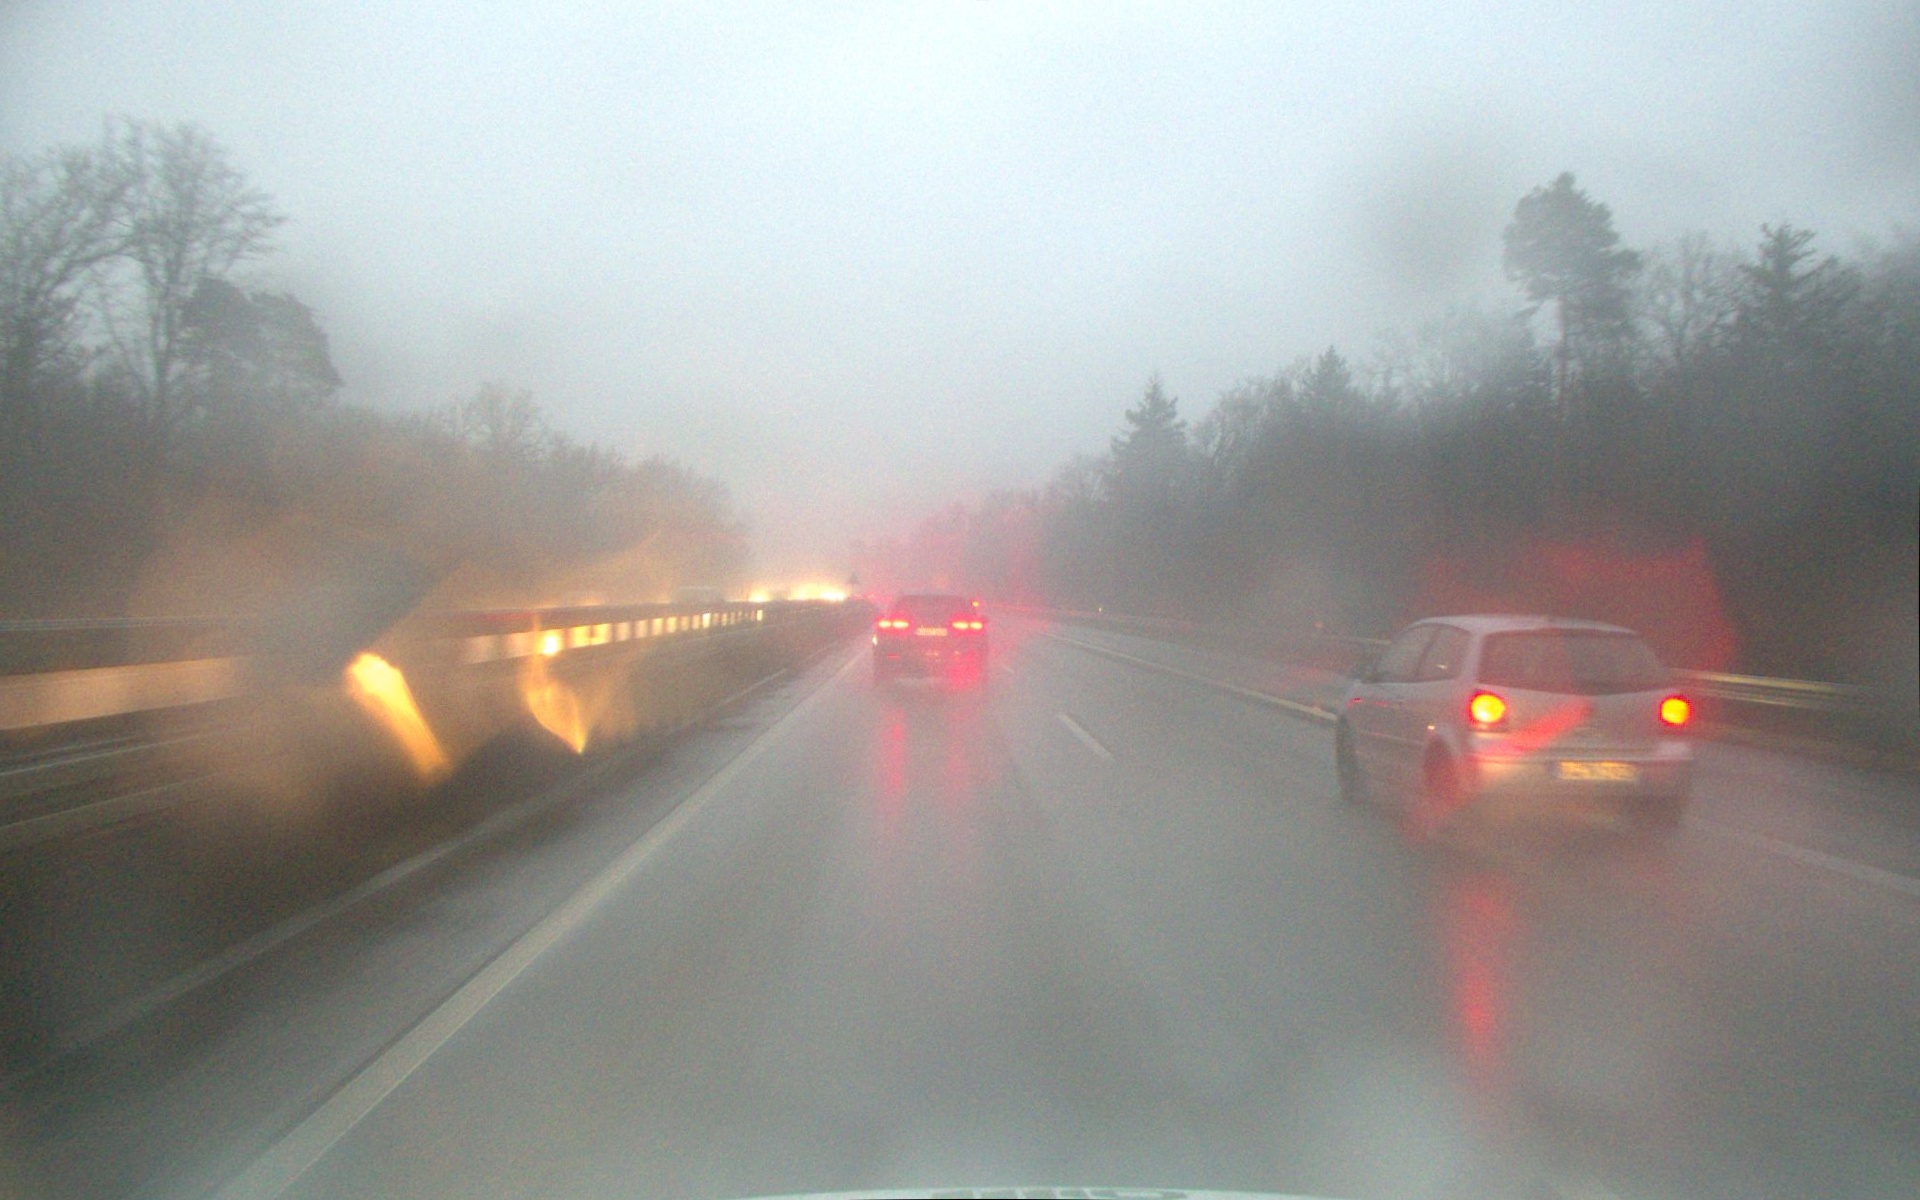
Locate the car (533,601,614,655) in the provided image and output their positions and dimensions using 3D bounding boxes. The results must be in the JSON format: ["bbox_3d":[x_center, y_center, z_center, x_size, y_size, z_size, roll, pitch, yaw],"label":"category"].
[{"bbox_3d":[-13.211,0.971,56.798,1.787,1.700,3.999,3,-1,-1],"label":"car"}]

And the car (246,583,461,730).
[{"bbox_3d":[-7.585,0.649,21.016,1.437,1.685,3.638,1,0,-1],"label":"car"}]

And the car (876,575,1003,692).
[{"bbox_3d":[-0.398,0.512,27.795,1.946,1.798,4.171,1,0,-2],"label":"car"}]

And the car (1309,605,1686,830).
[{"bbox_3d":[3.984,0.796,12.870,1.744,1.462,3.536,1,0,-1],"label":"car"}]

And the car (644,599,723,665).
[{"bbox_3d":[-8.842,1.041,53.189,1.787,1.937,3.999,3,-1,-1],"label":"car"}]
